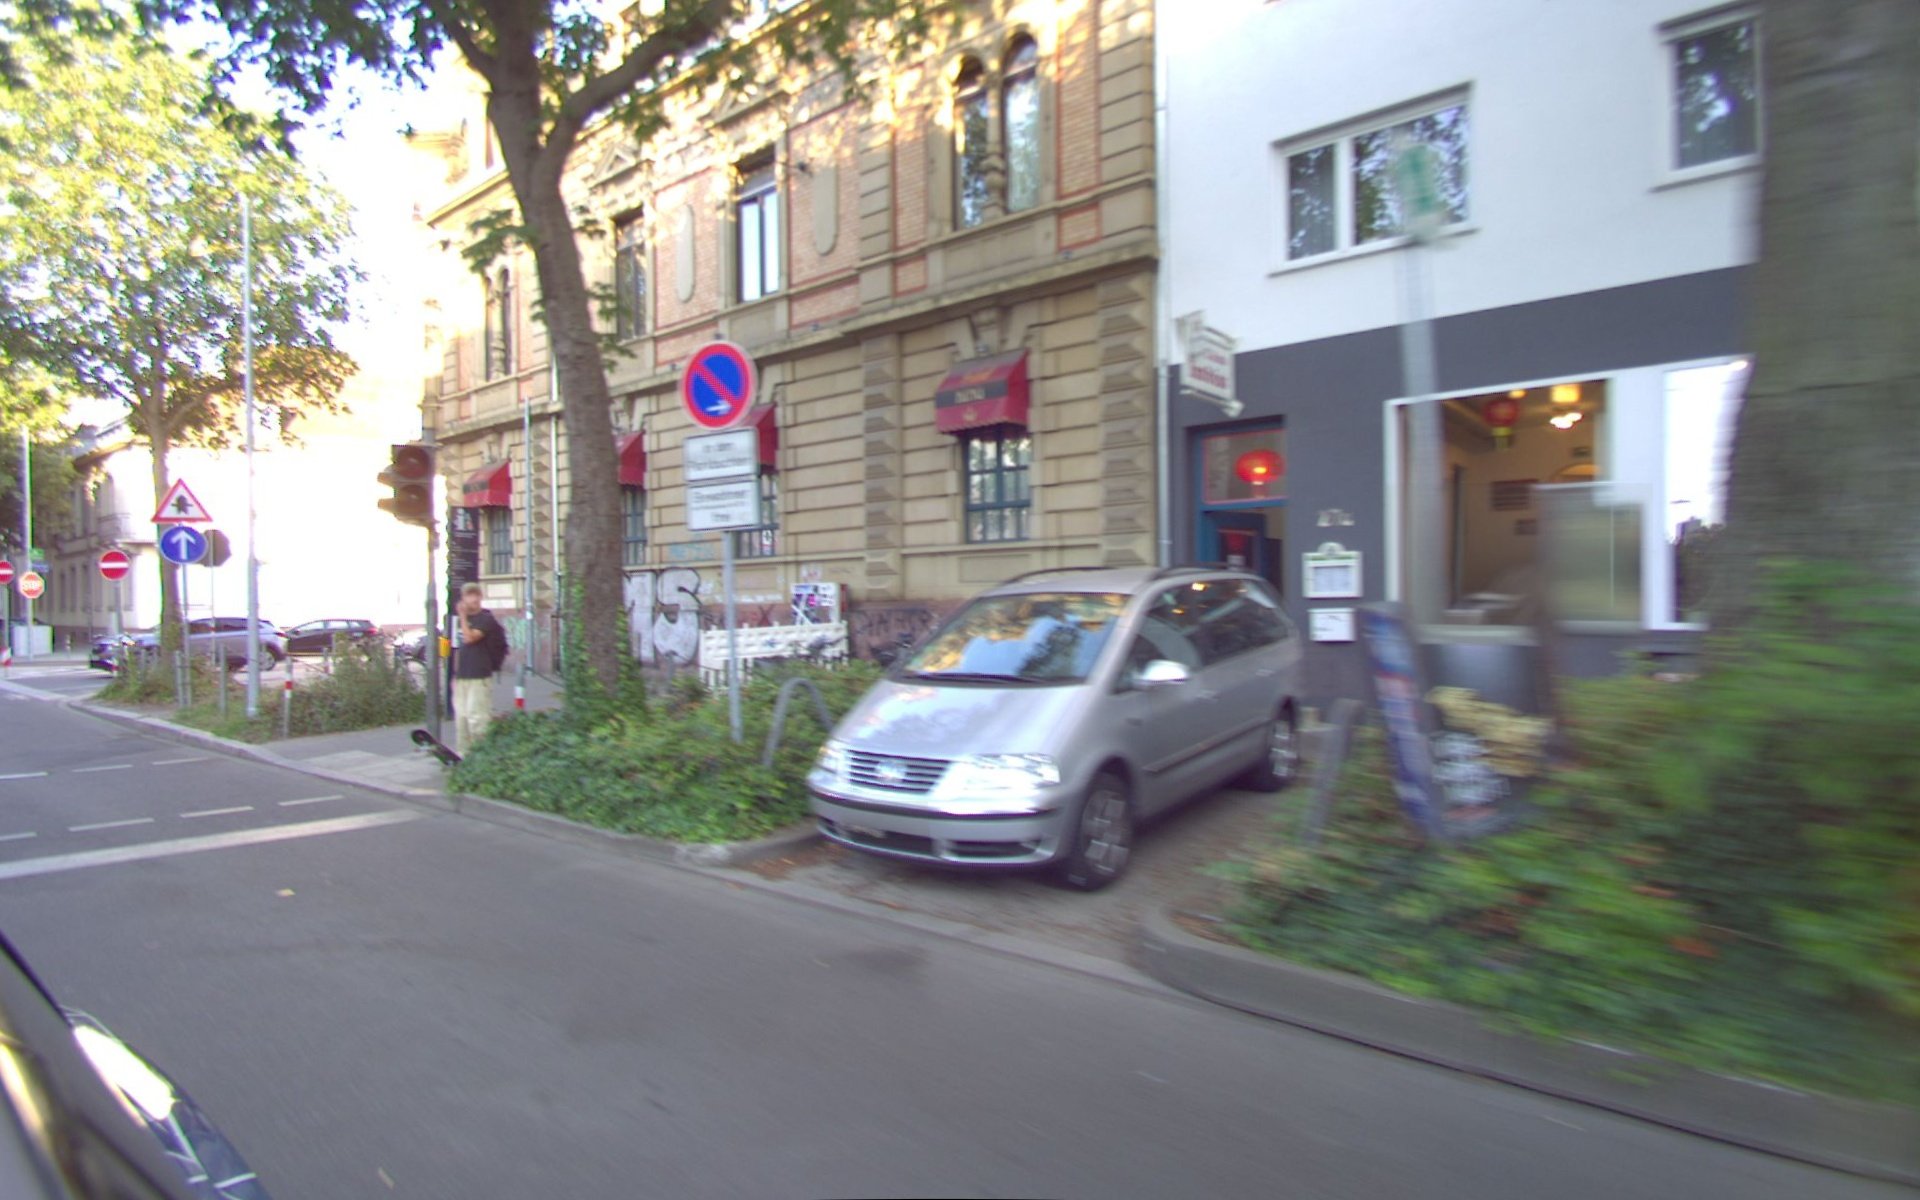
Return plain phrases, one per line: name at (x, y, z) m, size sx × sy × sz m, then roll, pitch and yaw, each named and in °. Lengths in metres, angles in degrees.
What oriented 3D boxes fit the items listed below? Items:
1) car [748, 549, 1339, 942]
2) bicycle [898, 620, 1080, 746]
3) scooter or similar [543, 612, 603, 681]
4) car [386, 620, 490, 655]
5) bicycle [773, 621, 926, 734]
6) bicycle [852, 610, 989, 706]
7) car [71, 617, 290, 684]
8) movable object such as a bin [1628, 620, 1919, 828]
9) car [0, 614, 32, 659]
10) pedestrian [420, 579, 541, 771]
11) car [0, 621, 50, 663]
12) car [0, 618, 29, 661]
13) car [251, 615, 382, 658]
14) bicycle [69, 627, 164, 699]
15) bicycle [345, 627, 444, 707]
car at (0.910, 0.577, 6.826) m, size 1.888 × 1.735 × 4.384 m, roll -1°, pitch 2°, yaw 37°
bicycle at (0.253, 0.774, 9.913) m, size 1.798 × 1.116 × 0.494 m, roll -2°, pitch 2°, yaw 39°
scooter or similar at (-7.041, 0.853, 18.382) m, size 1.272 × 1.207 × 0.380 m, roll -4°, pitch 0°, yaw 40°
car at (-21.635, 1.522, 42.092) m, size 3.750 × 1.335 × 1.839 m, roll -1°, pitch -1°, yaw -25°
bicycle at (-1.243, 0.816, 11.106) m, size 1.798 × 1.116 × 0.494 m, roll -2°, pitch 2°, yaw 39°
bicycle at (-0.527, 0.718, 12.847) m, size 1.798 × 1.116 × 0.494 m, roll -2°, pitch 2°, yaw 39°
car at (-20.950, 1.299, 27.420) m, size 1.939 × 1.582 × 4.318 m, roll 0°, pitch 0°, yaw 28°
movable object such as a bin at (4.778, 0.664, 5.968) m, size 1.315 × 1.070 × 0.767 m, roll -1°, pitch 0°, yaw 39°
car at (-43.954, 1.663, 44.724) m, size 1.993 × 1.966 × 3.958 m, roll -1°, pitch -1°, yaw 31°
pedestrian at (-4.657, 0.695, 9.876) m, size 0.756 × 1.790 × 0.831 m, roll -1°, pitch 0°, yaw 2°
car at (-40.044, 1.753, 41.316) m, size 1.794 × 1.682 × 3.958 m, roll -1°, pitch -1°, yaw 31°
car at (-42.305, 1.728, 42.822) m, size 1.794 × 1.825 × 3.958 m, roll -1°, pitch -1°, yaw 31°
car at (-25.425, 1.427, 40.138) m, size 4.197 × 1.541 × 1.839 m, roll -1°, pitch -1°, yaw -27°
bicycle at (-16.234, 1.183, 19.554) m, size 0.793 × 1.234 × 2.425 m, roll -5°, pitch 0°, yaw -26°
bicycle at (-8.532, 0.991, 15.237) m, size 1.795 × 1.116 × 0.494 m, roll -2°, pitch 2°, yaw 34°
